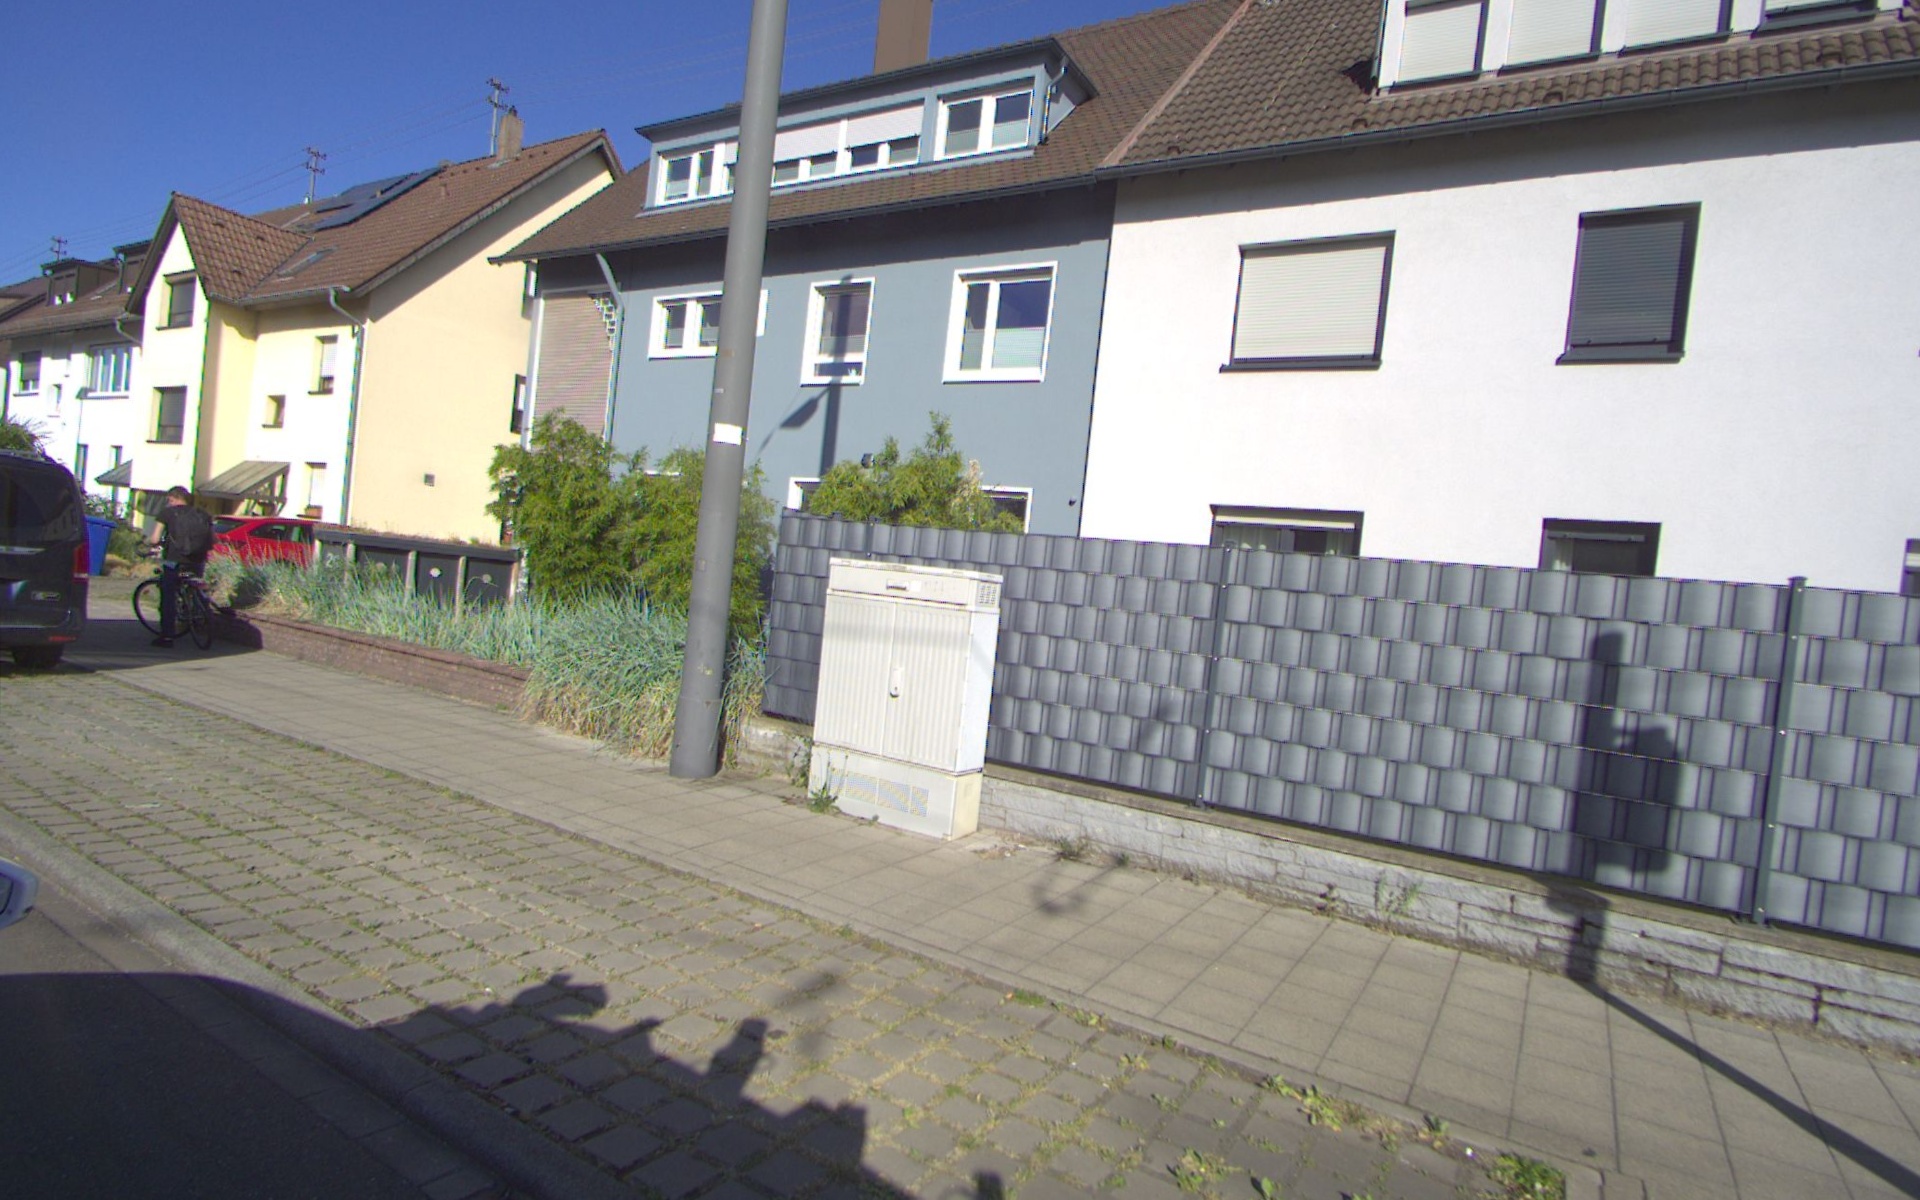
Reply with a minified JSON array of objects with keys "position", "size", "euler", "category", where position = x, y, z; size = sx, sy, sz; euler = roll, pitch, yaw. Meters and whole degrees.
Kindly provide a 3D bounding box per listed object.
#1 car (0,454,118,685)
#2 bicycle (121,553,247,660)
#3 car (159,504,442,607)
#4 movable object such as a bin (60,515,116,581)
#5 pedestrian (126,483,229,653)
[{"position":[-9.879,-0.479,9.136],"size":[4.846,1.859,1.963],"euler":[6,1,32],"category":"car"},{"position":[-8.343,0.057,10.803],"size":[1.537,0.993,0.600],"euler":[6,2,34],"category":"bicycle"},{"position":[-12.770,-0.813,19.750],"size":[1.868,1.486,4.168],"euler":[8,1,31],"category":"car"},{"position":[-15.867,-0.946,18.304],"size":[0.312,1.129,0.668],"euler":[7,3,33],"category":"movable object such as a bin"},{"position":[-8.456,-0.337,10.879],"size":[0.703,1.745,0.582],"euler":[7,2,33],"category":"pedestrian"}]
